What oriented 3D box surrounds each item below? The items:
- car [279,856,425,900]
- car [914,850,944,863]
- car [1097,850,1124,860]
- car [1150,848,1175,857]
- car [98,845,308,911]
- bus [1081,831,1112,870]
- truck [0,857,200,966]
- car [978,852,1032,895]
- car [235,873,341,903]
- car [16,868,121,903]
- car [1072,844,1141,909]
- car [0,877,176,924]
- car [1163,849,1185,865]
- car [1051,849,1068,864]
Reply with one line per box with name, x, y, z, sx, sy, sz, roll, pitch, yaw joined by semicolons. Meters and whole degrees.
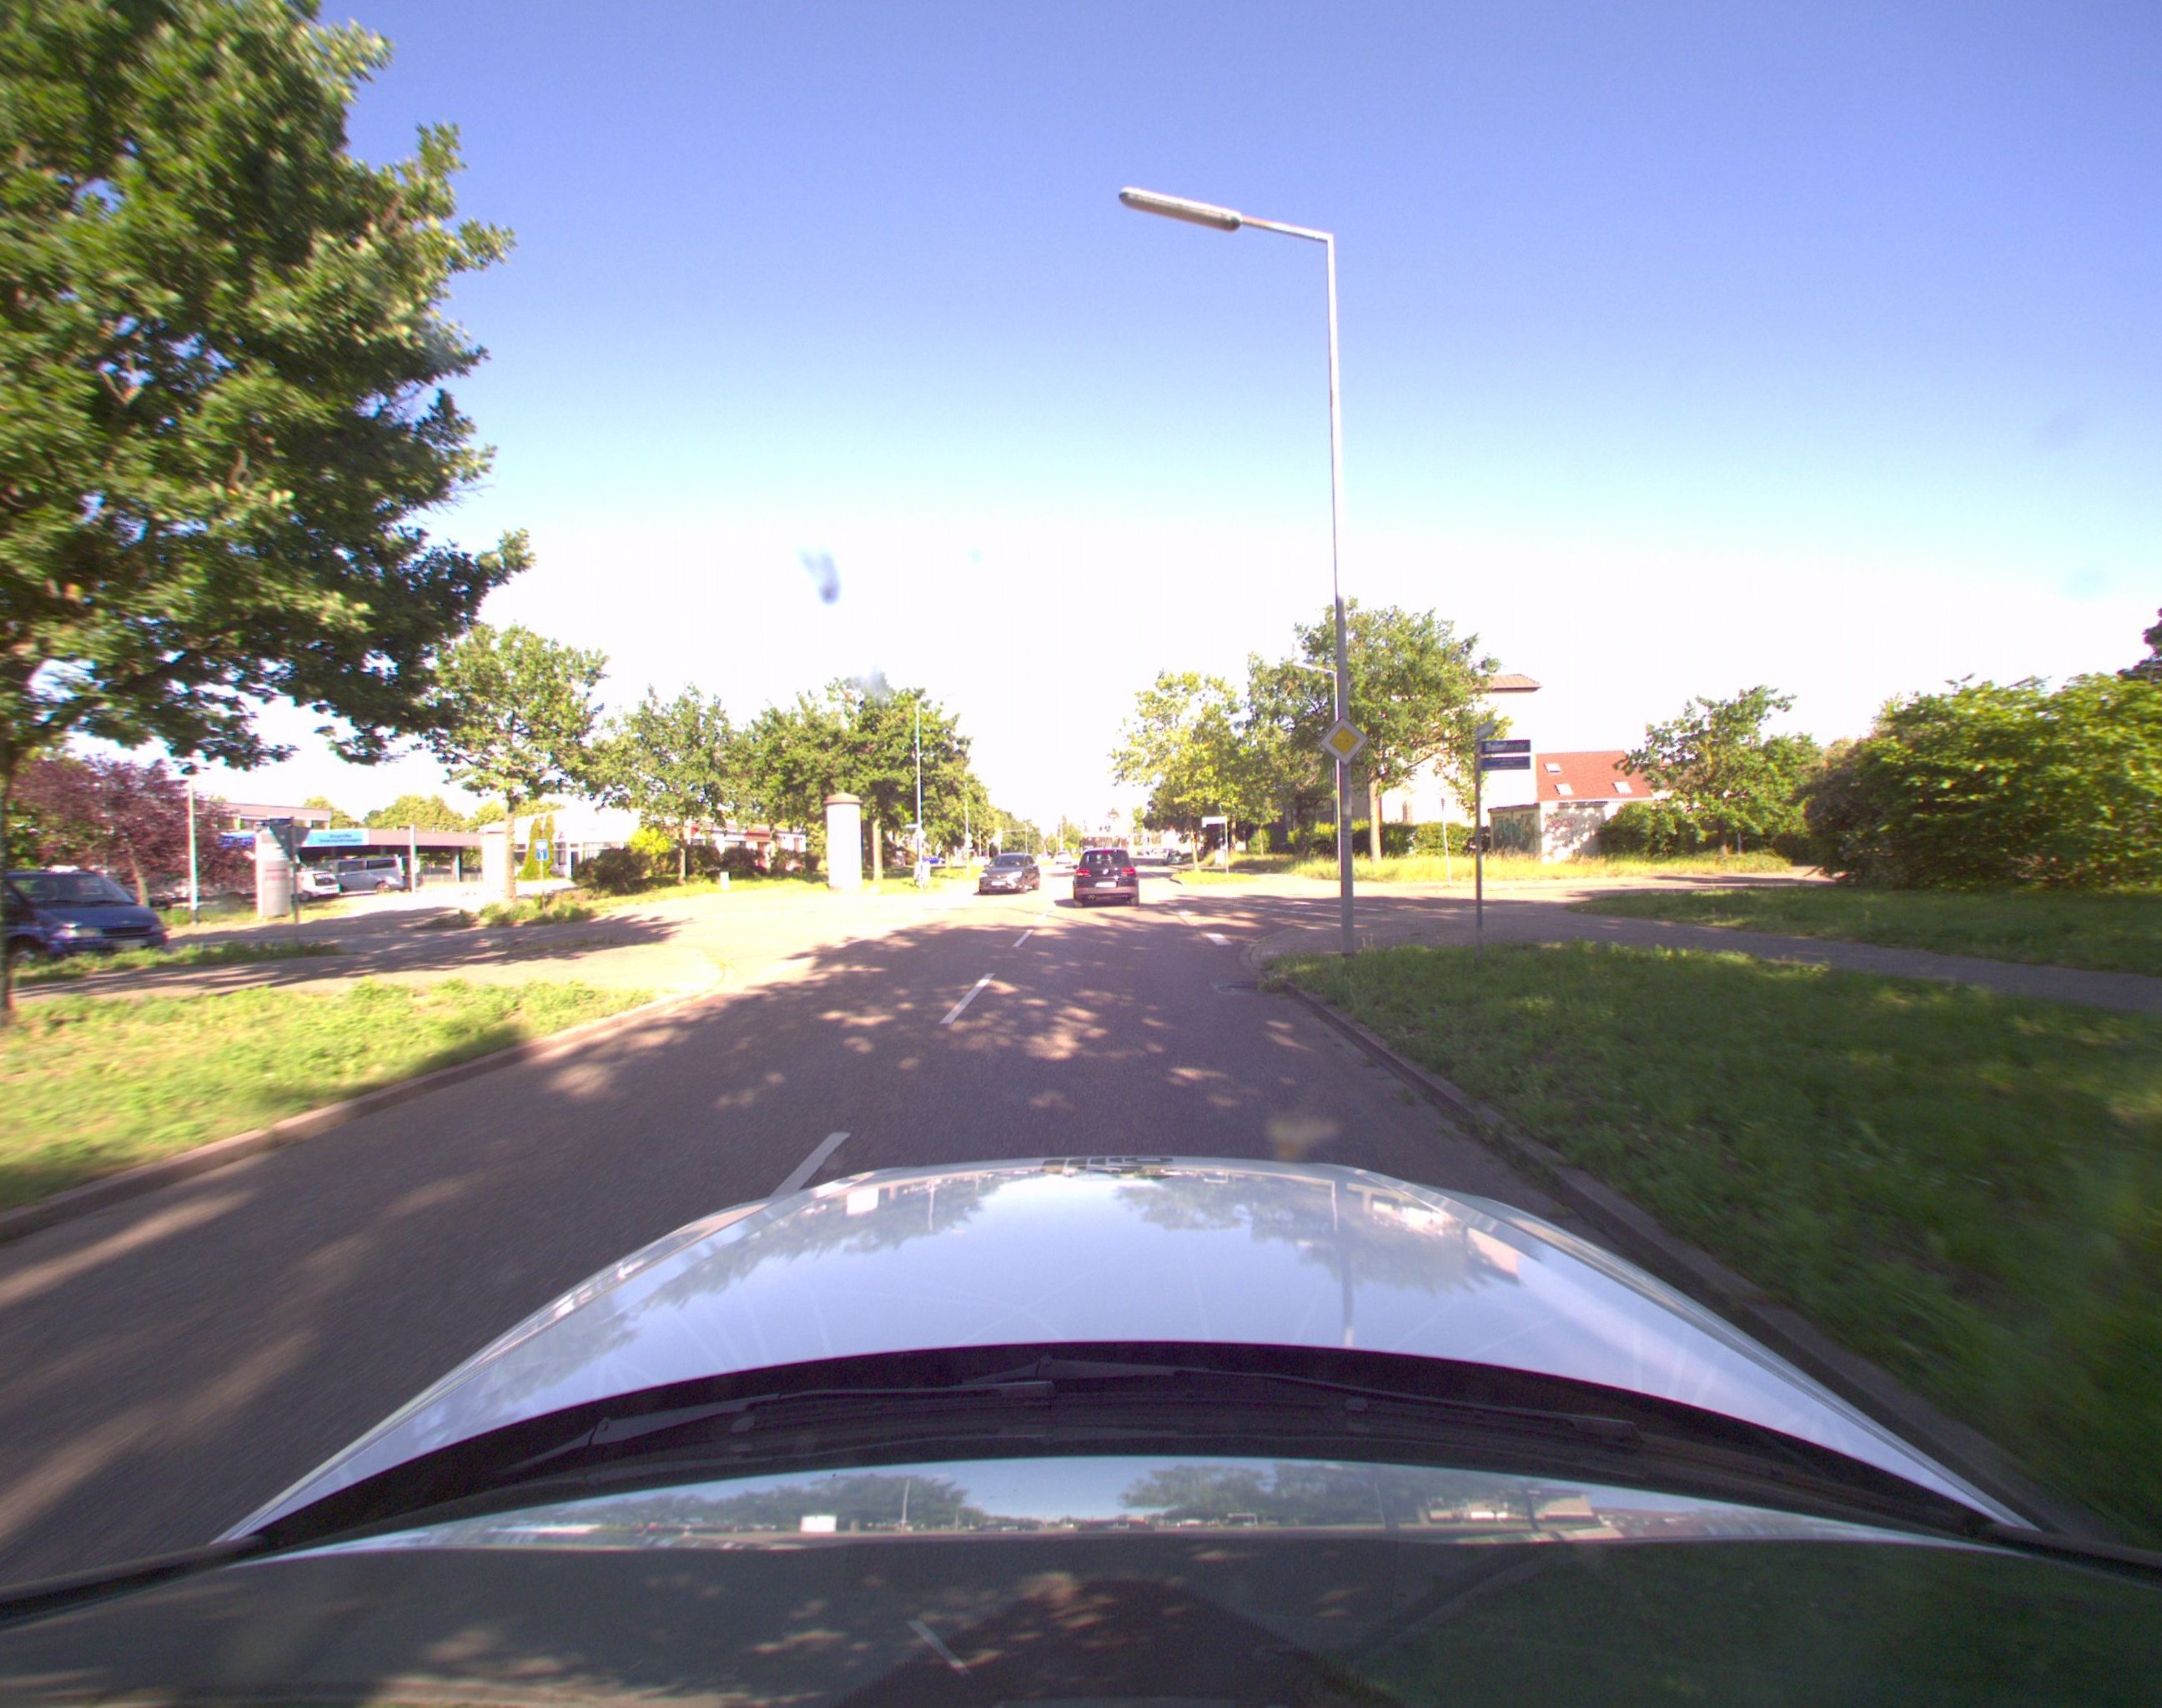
car;-38.432;1.221;43.076;5.399;2.070;2.297;-2;0;-5
car;-22.196;0.365;119.026;3.980;1.880;1.997;0;-1;-5
car;3.961;0.115;108.604;3.502;1.302;1.578;-1;0;8
car;13.622;-0.232;135.948;3.890;1.340;1.677;0;-1;-9
car;-37.641;0.991;35.082;6.148;2.703;2.297;0;-1;-5
bus;1.301;-0.325;74.541;2.588;3.334;11.981;0;0;0
truck;-22.622;1.123;16.271;7.101;2.050;2.136;0;-1;-6
car;-3.040;0.778;33.281;1.748;1.595;4.298;-2;-1;0
car;-38.956;1.666;40.051;3.515;1.302;1.573;-1;0;-4
car;-63.236;1.964;50.918;3.977;2.013;1.883;-2;0;-3
car;0.753;0.628;23.808;1.814;1.673;4.004;-2;-1;2
car;-38.779;1.787;31.703;4.637;1.551;1.882;-2;0;-5
car;8.914;0.301;78.168;1.587;1.428;4.204;-3;0;1
car;-2.554;0.319;96.557;1.752;1.620;4.024;-2;-1;-6
